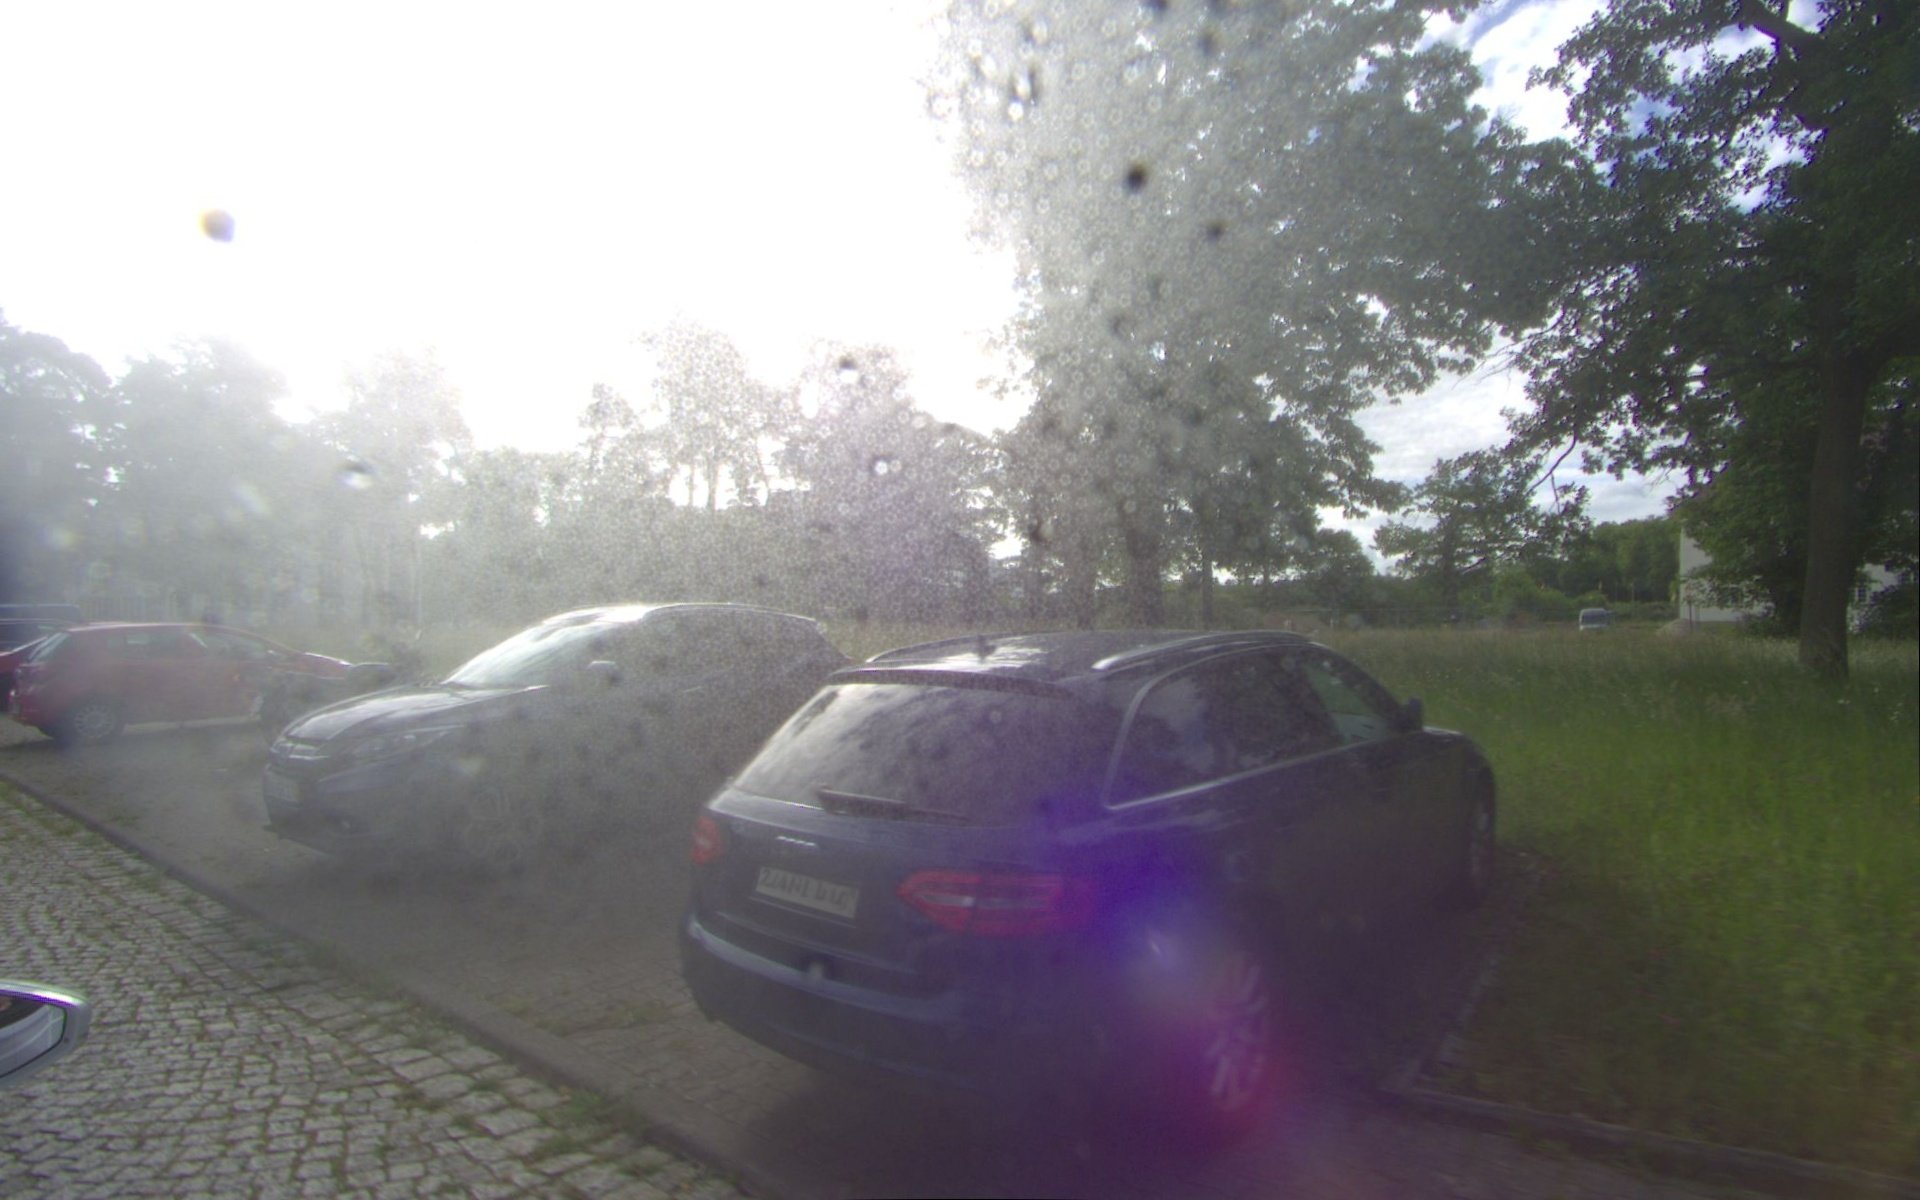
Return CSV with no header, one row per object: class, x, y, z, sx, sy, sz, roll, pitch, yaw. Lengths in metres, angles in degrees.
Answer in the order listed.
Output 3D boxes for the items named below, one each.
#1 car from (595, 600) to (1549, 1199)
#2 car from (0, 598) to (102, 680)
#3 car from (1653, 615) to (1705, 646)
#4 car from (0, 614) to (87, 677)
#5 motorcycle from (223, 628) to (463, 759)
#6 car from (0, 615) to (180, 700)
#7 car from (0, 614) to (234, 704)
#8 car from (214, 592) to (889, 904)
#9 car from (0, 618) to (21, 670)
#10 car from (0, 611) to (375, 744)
car,0.987,0.766,4.332,1.874,1.484,4.481,0,1,42
car,-25.235,0.990,25.605,1.715,2.066,4.767,0,-1,36
car,50.518,2.173,70.464,2.450,2.039,5.811,-1,-3,30
car,-23.477,1.101,23.883,1.632,1.443,3.710,0,0,36
motorcycle,-6.834,0.980,11.251,0.597,1.291,2.259,0,0,33
car,-18.341,1.108,20.095,1.739,1.601,3.938,0,-1,37
car,-16.177,1.034,18.680,1.716,1.538,3.972,0,-1,38
car,-2.629,0.750,7.370,1.871,1.594,4.246,0,0,38
car,-29.414,1.279,28.795,1.642,1.524,3.282,0,-1,36
car,-10.471,0.927,13.780,1.716,1.525,3.825,0,0,37
